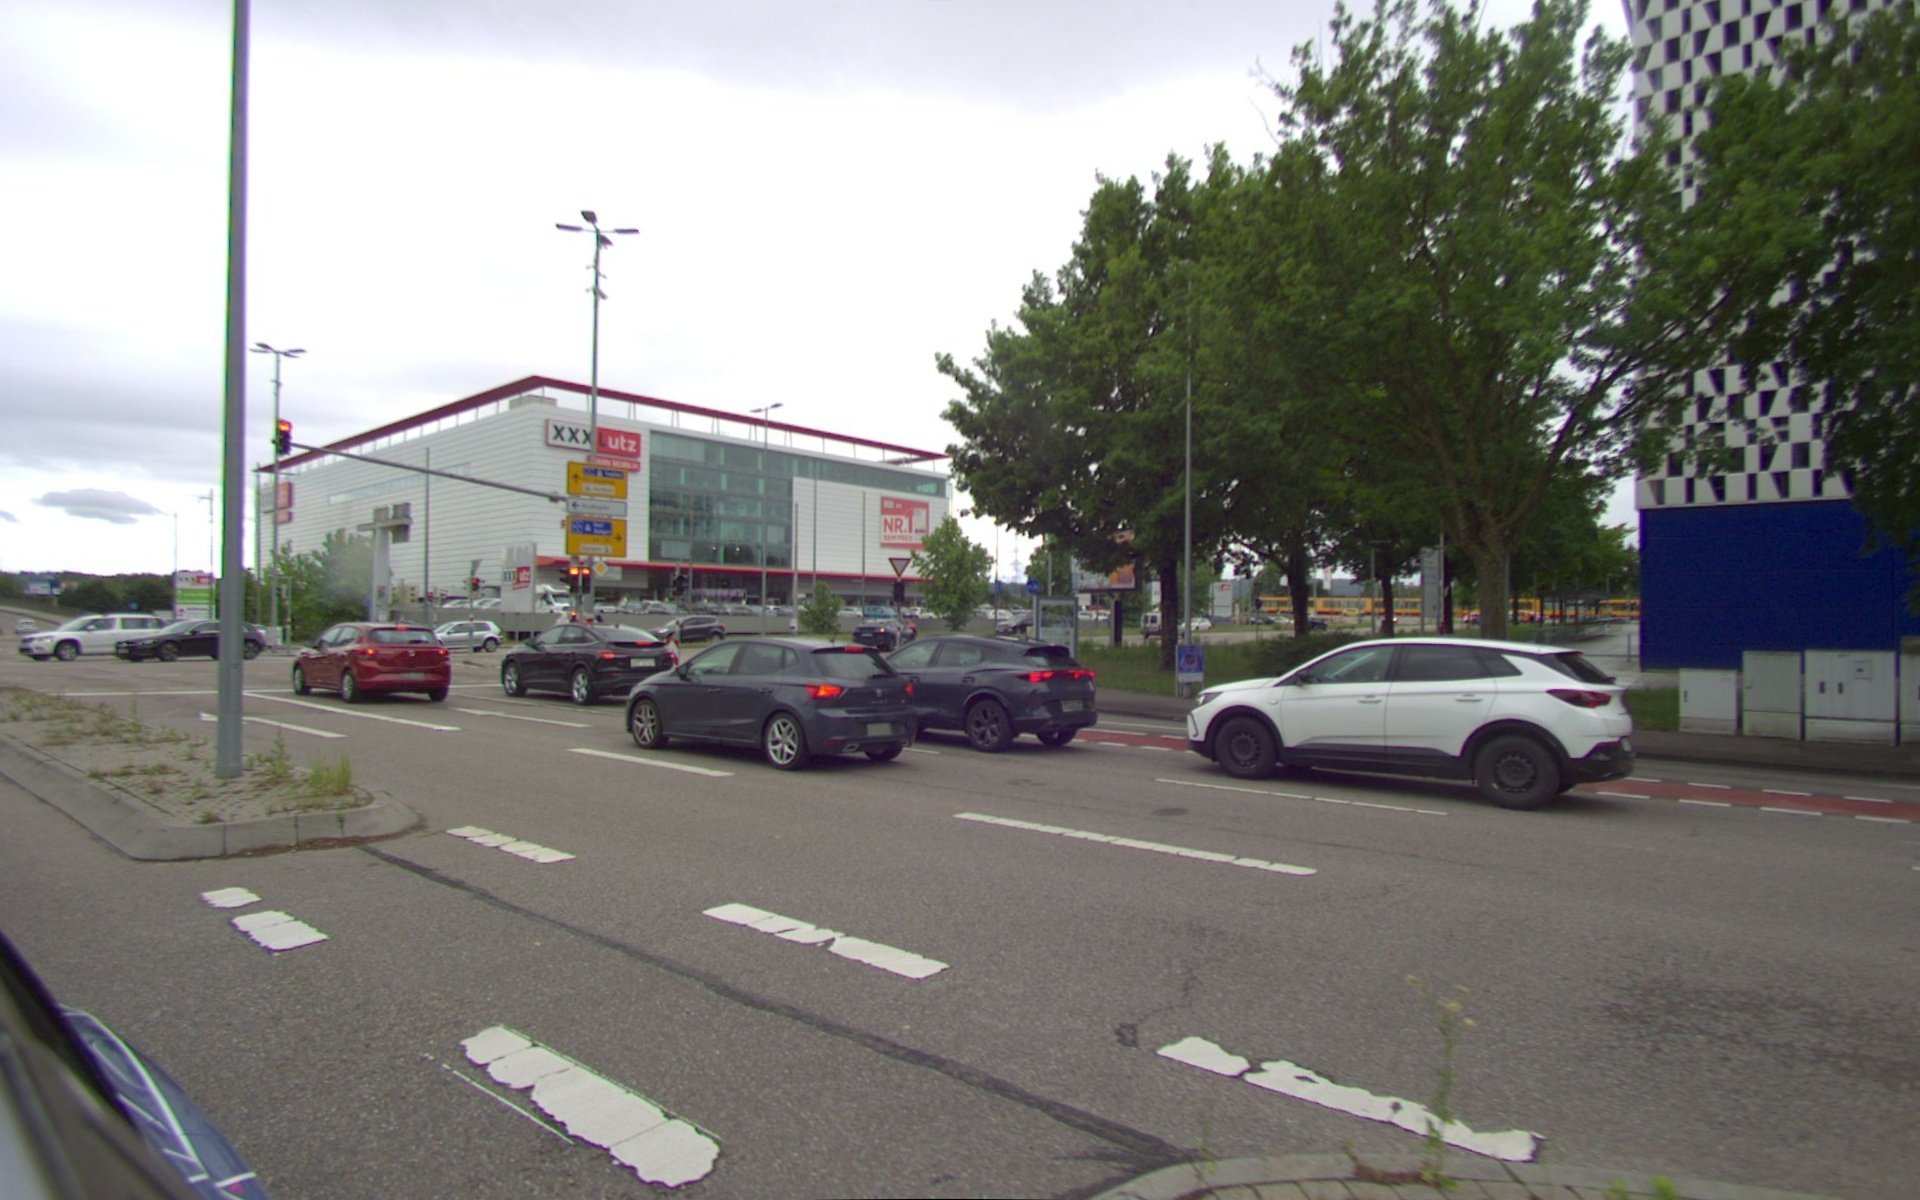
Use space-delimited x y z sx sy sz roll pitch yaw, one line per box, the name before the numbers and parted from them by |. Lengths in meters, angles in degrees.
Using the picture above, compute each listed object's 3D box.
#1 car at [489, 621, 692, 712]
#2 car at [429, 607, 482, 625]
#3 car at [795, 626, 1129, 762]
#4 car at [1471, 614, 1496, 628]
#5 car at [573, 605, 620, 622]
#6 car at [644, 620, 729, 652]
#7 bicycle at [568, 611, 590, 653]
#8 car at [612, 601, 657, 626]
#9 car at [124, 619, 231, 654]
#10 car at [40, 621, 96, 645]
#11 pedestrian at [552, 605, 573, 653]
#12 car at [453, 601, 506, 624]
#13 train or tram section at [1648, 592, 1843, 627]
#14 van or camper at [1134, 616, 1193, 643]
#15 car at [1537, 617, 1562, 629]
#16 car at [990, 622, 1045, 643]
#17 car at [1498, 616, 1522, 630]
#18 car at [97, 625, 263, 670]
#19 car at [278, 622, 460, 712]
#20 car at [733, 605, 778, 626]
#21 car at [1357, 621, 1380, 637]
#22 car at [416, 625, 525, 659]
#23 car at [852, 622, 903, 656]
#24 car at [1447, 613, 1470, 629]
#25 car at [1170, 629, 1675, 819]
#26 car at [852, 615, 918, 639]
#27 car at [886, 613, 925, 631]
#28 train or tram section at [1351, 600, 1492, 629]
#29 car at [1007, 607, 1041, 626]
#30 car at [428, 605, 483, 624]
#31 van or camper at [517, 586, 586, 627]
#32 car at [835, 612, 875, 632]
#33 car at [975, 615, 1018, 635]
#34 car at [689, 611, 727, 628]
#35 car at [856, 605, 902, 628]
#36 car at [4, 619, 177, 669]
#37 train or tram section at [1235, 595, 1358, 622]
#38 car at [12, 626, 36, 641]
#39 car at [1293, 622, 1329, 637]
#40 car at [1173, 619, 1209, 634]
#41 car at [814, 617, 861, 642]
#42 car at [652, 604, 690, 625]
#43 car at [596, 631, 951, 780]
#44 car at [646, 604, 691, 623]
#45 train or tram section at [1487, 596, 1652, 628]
car | -7.636 1.320 20.752 4.328 1.649 1.862 0 -4 38
car | -48.258 1.512 96.810 1.777 1.688 4.199 -4 -2 43
car | -0.076 1.224 14.483 4.592 1.556 1.862 0 -3 38
car | 66.089 2.662 127.787 1.847 1.668 4.302 1 1 40
car | -37.558 1.410 104.651 1.777 1.688 4.199 -4 -2 43
car | -14.788 1.926 54.843 1.803 1.586 4.159 -4 -2 43
bicycle | -13.262 1.108 35.200 0.587 1.407 1.940 2 -1 -23
car | -27.403 1.122 85.095 3.867 1.962 1.844 -3 -2 42
car | -39.002 1.857 50.495 4.328 1.637 1.793 -1 -4 12
car | -56.972 2.158 64.645 4.870 1.422 1.794 -3 -4 38
pedestrian | -13.674 0.996 34.806 0.630 1.639 0.694 2 -1 -24
car | -44.117 1.107 92.891 2.001 2.029 3.942 -4 -3 44
train or tram section | 119.646 1.550 154.989 23.267 4.875 3.584 -2 -2 40
van or camper | 14.086 2.008 70.017 2.000 1.735 4.333 -4 -2 42
car | 85.708 3.354 147.140 3.862 1.732 1.852 0 -2 -39
car | 4.294 2.371 75.017 1.803 1.426 4.159 -4 -2 43
car | 75.156 3.102 138.276 3.866 1.901 1.850 1 -1 -44
car | -26.636 1.599 34.738 1.756 1.389 4.228 -3 -2 21
car | -11.597 1.233 19.763 4.075 1.499 1.718 0 -2 40
car | -20.183 1.535 100.124 1.999 2.029 3.946 -3 -2 41
car | 60.374 4.253 149.651 1.998 2.260 3.946 -1 -2 40
car | -22.597 1.939 46.816 1.803 1.426 4.159 -4 -2 43
car | -3.840 1.807 47.620 1.680 1.498 4.112 1 -2 5
car | 70.318 2.967 142.772 1.998 2.236 3.946 -1 -2 40
car | 4.783 1.190 10.859 4.573 1.606 1.973 -2 -6 40
car | -4.839 1.743 65.892 1.803 1.426 4.159 -4 -2 43
car | -5.822 2.328 107.970 1.890 1.807 3.946 -3 -2 41
train or tram section | 84.049 2.754 185.083 23.267 4.875 3.584 -2 -2 40
car | 7.487 1.919 117.891 1.999 2.029 3.946 -3 -2 41
car | -46.818 1.307 94.019 1.777 1.688 4.199 -4 -2 43
van or camper | -34.636 0.572 85.651 7.237 3.159 2.676 -4 -3 43
car | -11.253 2.358 108.652 1.999 2.029 3.946 -3 -2 41
car | 3.897 2.689 107.823 4.324 2.029 1.973 -3 -2 41
car | -27.131 2.090 108.881 3.997 1.752 1.973 -3 -2 41
car | -7.520 1.544 93.707 3.998 2.029 1.973 -3 -2 41
car | -30.672 1.511 35.849 1.788 1.637 4.341 -3 -2 23
train or tram section | 66.213 1.746 200.139 23.267 4.875 3.584 -2 -2 40
car | -98.398 3.532 106.442 1.807 1.421 4.202 -2 -2 -43
car | 32.507 2.732 93.643 1.728 1.382 3.942 0 -2 44
car | 24.255 2.732 106.136 1.803 1.426 4.159 -4 -2 43
car | -10.946 2.624 90.231 3.998 2.029 1.973 -3 -2 41
car | -30.256 1.560 105.834 3.998 2.029 1.973 -3 -2 41
car | -2.349 1.148 12.164 4.327 1.473 1.838 -2 -4 39
car | -25.278 1.195 87.707 3.991 1.448 1.845 -3 -2 40
train or tram section | 101.878 2.150 169.975 23.267 4.875 3.584 -2 -2 40
